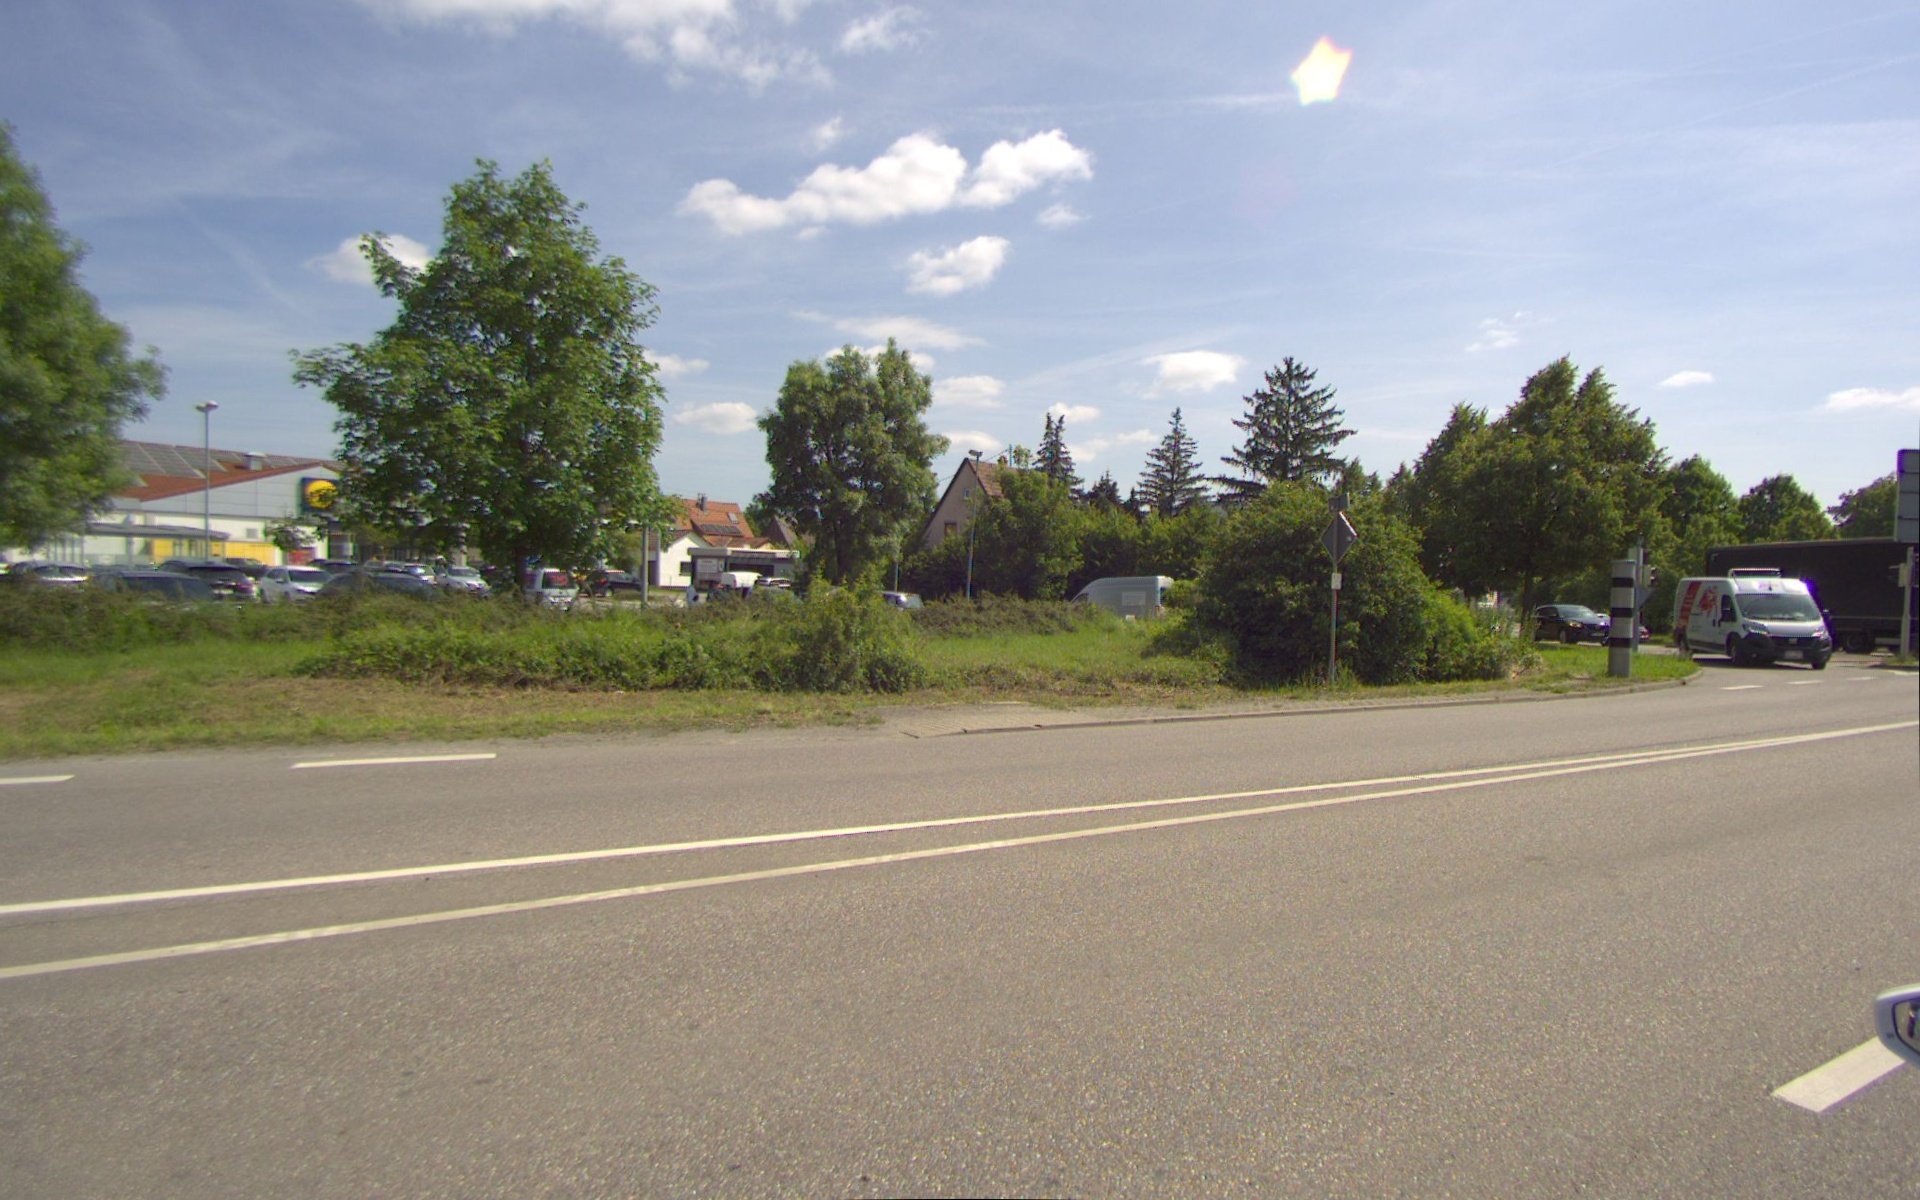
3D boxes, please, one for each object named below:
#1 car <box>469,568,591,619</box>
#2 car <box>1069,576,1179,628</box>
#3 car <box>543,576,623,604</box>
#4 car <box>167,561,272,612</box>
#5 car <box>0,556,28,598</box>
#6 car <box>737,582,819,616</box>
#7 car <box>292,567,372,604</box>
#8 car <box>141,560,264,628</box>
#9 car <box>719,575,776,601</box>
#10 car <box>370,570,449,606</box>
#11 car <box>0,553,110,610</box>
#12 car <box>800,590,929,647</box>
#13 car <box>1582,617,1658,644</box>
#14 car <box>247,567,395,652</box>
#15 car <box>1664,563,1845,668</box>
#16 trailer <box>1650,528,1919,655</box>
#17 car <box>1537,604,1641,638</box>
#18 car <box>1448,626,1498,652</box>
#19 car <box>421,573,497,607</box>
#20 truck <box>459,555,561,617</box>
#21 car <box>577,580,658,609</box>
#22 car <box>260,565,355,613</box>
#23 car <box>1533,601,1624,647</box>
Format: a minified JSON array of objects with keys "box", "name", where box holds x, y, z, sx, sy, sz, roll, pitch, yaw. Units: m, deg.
[{"box":[-15.495,-0.256,36.154,4.354,1.717,1.994,1,0,34],"name":"car"},{"box":[7.502,0.068,46.115,4.525,2.209,1.992,2,1,38],"name":"car"},{"box":[-23.076,-0.606,61.565,1.850,1.562,4.242,2,0,37],"name":"car"},{"box":[-24.431,-0.458,33.091,3.937,1.549,1.772,2,0,38],"name":"car"},{"box":[-36.167,-0.902,37.028,3.933,1.461,1.880,3,1,35],"name":"car"},{"box":[-9.608,-0.030,53.231,1.883,1.662,3.984,2,0,38],"name":"car"},{"box":[-28.492,-0.654,45.554,4.194,1.562,1.871,2,0,40],"name":"car"},{"box":[-21.057,-0.194,27.877,3.940,1.697,1.903,3,2,40],"name":"car"},{"box":[-15.997,-0.885,75.685,1.867,1.782,3.987,2,0,35],"name":"car"},{"box":[-26.358,-0.587,48.045,4.194,1.562,1.871,2,0,40],"name":"car"},{"box":[-26.694,-0.552,29.541,3.937,1.549,1.772,2,0,38],"name":"car"},{"box":[-3.275,0.604,34.349,3.928,1.751,1.996,2,0,30],"name":"car"},{"box":[41.458,1.898,63.197,1.961,1.448,3.998,2,0,-3],"name":"car"},{"box":[-13.866,0.163,21.708,3.942,1.679,1.685,2,0,42],"name":"car"},{"box":[22.705,0.380,29.082,2.082,2.690,5.986,1,1,18],"name":"car"},{"box":[31.799,-0.294,35.880,2.749,4.116,13.697,0,1,-12],"name":"trailer"},{"box":[30.171,0.975,48.339,1.778,1.480,4.251,1,1,-11],"name":"car"},{"box":[31.985,2.394,62.729,1.759,1.436,4.050,0,1,13],"name":"car"},{"box":[-25.061,-0.515,50.177,4.194,1.562,1.871,2,0,40],"name":"car"},{"box":[-18.472,-0.591,41.211,3.933,2.397,1.994,2,0,34],"name":"truck"},{"box":[-20.510,-0.313,60.286,1.850,1.562,4.242,2,0,37],"name":"car"},{"box":[-22.700,-0.391,34.889,3.941,1.549,1.770,2,0,42],"name":"car"},{"box":[25.756,0.981,41.988,1.834,1.773,4.113,2,0,11],"name":"car"}]
